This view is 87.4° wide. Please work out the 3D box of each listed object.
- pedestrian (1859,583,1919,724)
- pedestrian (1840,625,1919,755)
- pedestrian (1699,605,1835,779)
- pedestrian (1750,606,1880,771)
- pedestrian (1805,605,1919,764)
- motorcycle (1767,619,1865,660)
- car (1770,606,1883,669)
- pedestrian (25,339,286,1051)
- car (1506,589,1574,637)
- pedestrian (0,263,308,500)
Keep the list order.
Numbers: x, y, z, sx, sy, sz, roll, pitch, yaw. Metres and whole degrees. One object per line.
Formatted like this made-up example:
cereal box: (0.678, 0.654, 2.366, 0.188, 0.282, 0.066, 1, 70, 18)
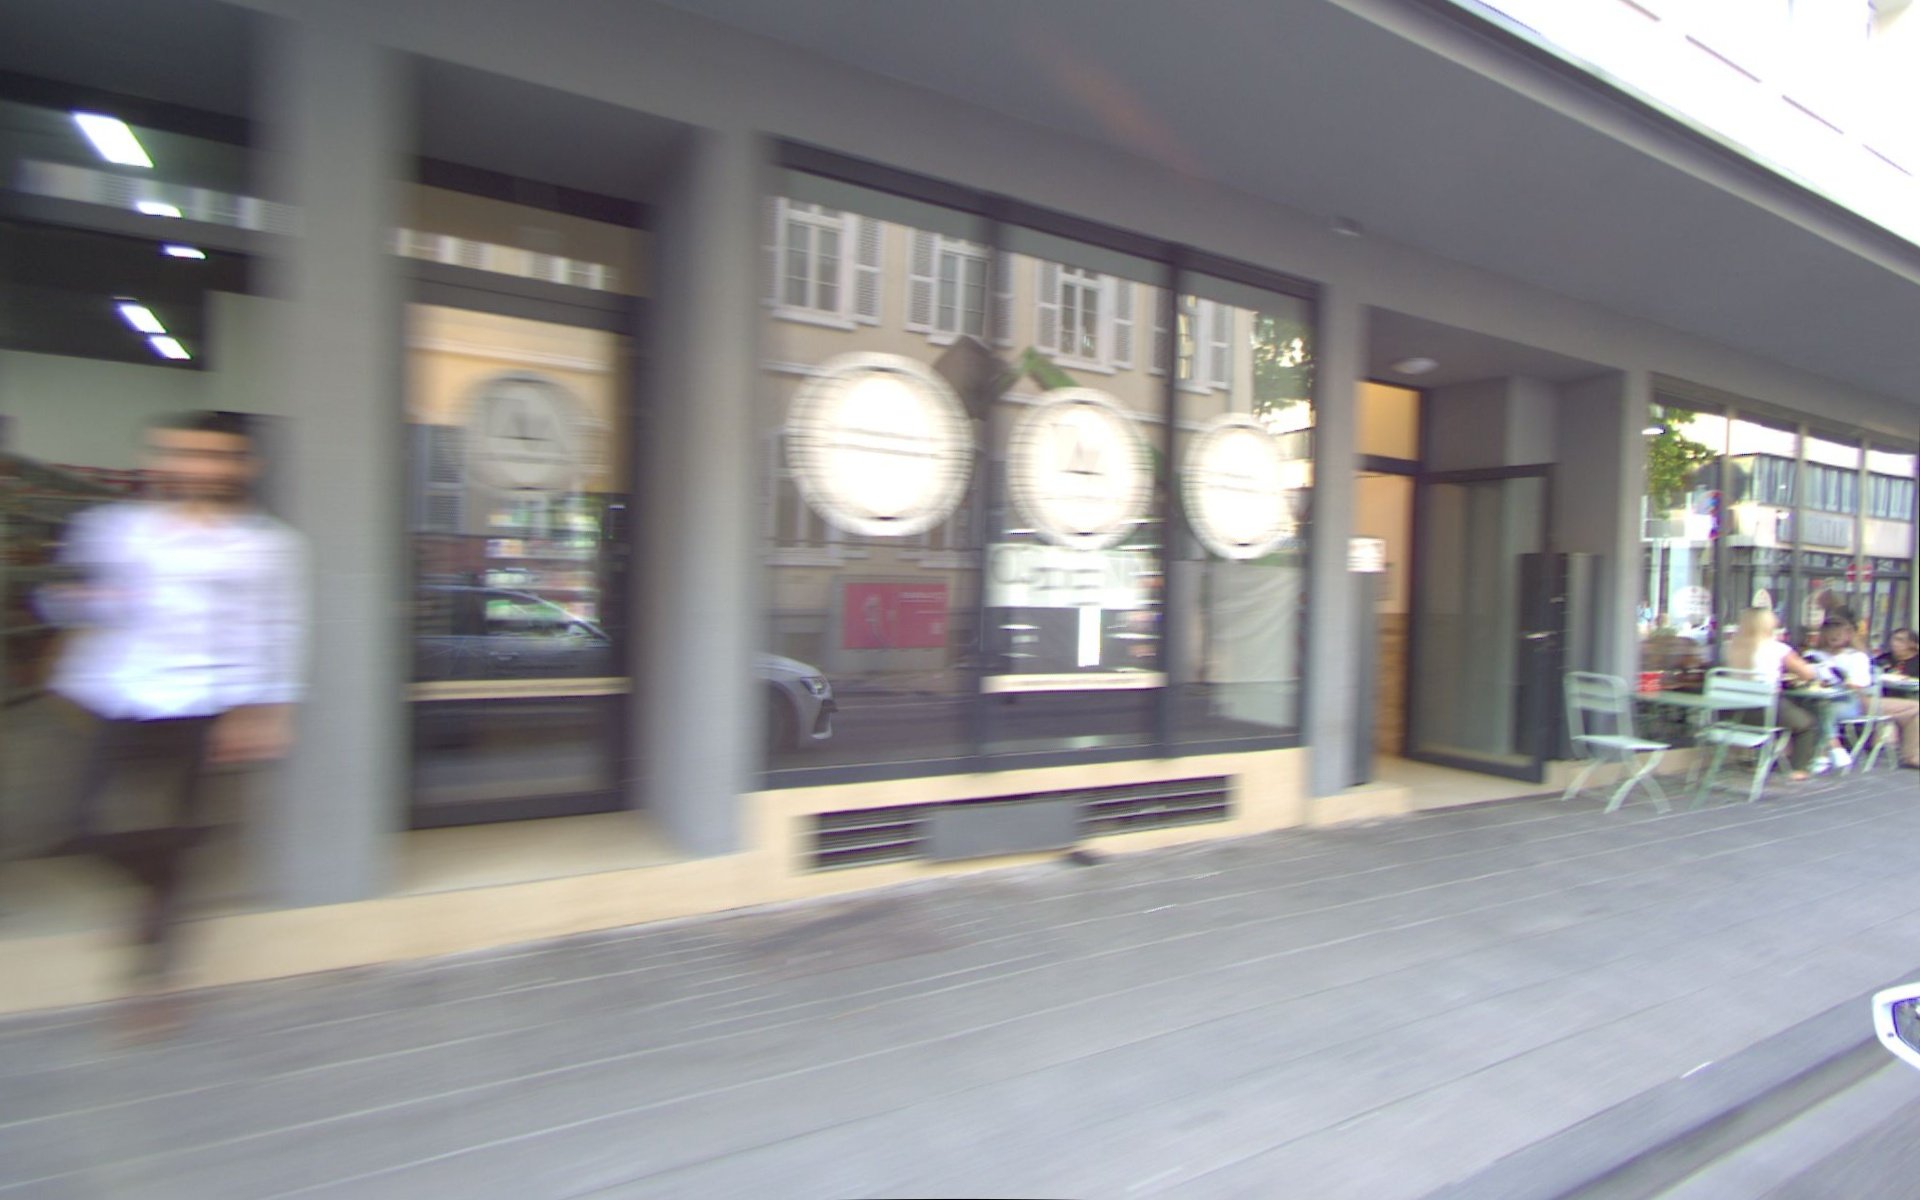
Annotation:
pedestrian: (11.903, 0.653, 12.398, 0.782, 1.690, 0.902, 3, 2, 14)
pedestrian: (8.781, 0.819, 9.399, 0.705, 1.129, 0.570, 1, 3, -30)
pedestrian: (6.447, 0.705, 8.032, 0.705, 1.293, 0.570, 1, 3, -30)
pedestrian: (7.179, 0.711, 8.439, 0.705, 1.293, 0.570, 1, 3, -30)
pedestrian: (8.061, 0.710, 8.841, 0.705, 1.293, 0.698, 1, 3, -30)
motorcycle: (21.038, 0.959, 24.704, 0.636, 0.932, 1.739, 1, 0, -39)
car: (25.112, 1.022, 29.256, 1.917, 1.526, 3.986, 1, 2, 33)
pedestrian: (-2.364, 0.251, 3.002, 0.557, 1.859, 0.526, 0, 1, -36)
car: (20.740, 0.420, 35.855, 1.917, 1.526, 3.986, 1, 2, 33)
pedestrian: (-9.578, -2.199, 10.809, 3.919, 2.040, 2.001, 1, 0, 8)
